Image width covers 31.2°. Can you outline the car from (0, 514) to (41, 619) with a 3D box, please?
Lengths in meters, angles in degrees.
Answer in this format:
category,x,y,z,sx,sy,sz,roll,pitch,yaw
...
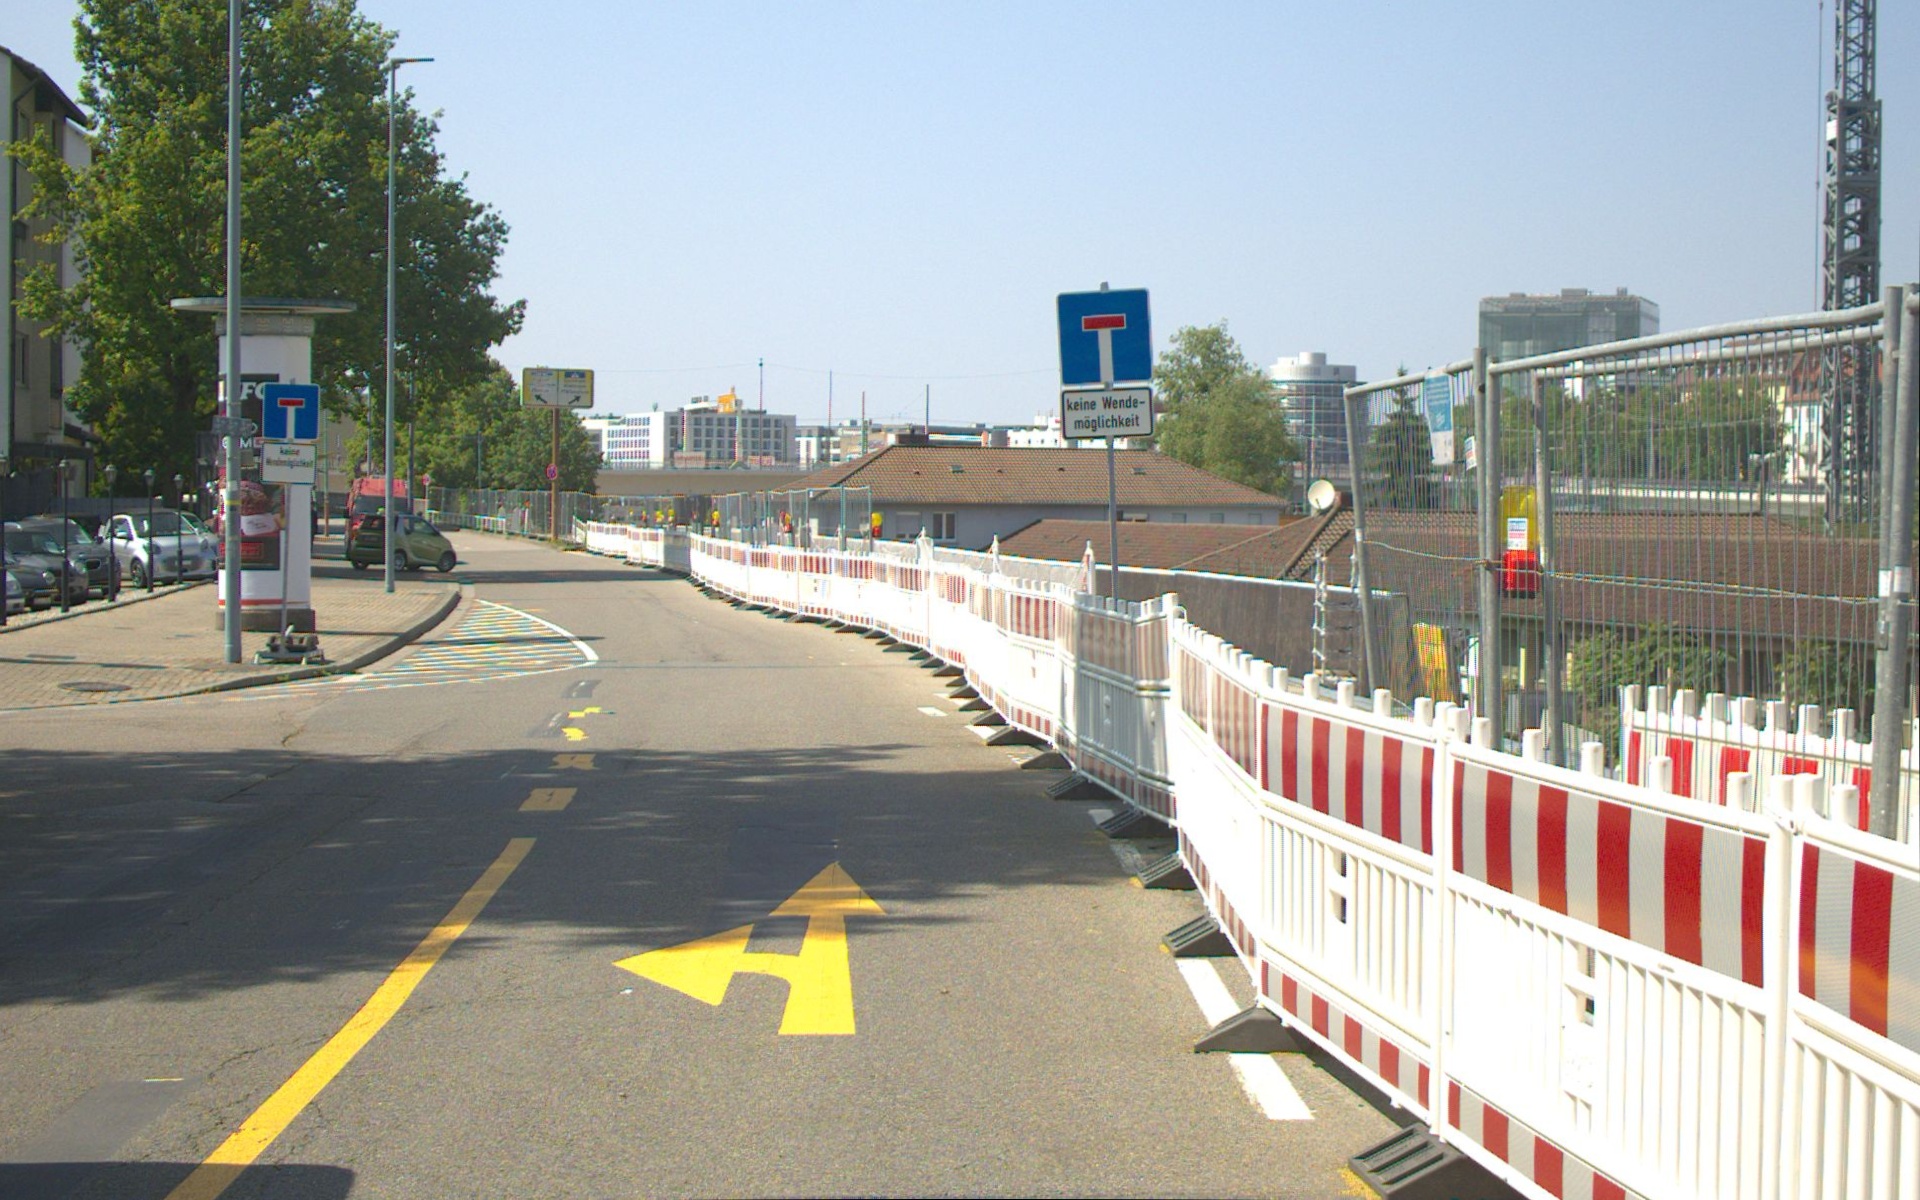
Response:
category,x,y,z,sx,sy,sz,roll,pitch,yaw
car,-15.833,-0.562,54.917,1.856,1.623,4.001,0,1,-20

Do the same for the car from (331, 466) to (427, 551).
category,x,y,z,sx,sy,sz,roll,pitch,yaw
car,-17.958,-2.801,106.552,2.537,2.511,5.119,1,0,-5

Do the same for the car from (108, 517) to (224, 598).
category,x,y,z,sx,sy,sz,roll,pitch,yaw
car,-16.564,-0.900,71.632,1.856,1.623,4.001,0,1,-20

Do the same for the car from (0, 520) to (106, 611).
category,x,y,z,sx,sy,sz,roll,pitch,yaw
car,-17.002,-0.663,63.677,1.856,1.623,4.001,0,1,-20

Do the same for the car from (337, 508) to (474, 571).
category,x,y,z,sx,sy,sz,roll,pitch,yaw
car,-14.958,-1.638,92.821,1.725,1.632,3.272,1,1,43
